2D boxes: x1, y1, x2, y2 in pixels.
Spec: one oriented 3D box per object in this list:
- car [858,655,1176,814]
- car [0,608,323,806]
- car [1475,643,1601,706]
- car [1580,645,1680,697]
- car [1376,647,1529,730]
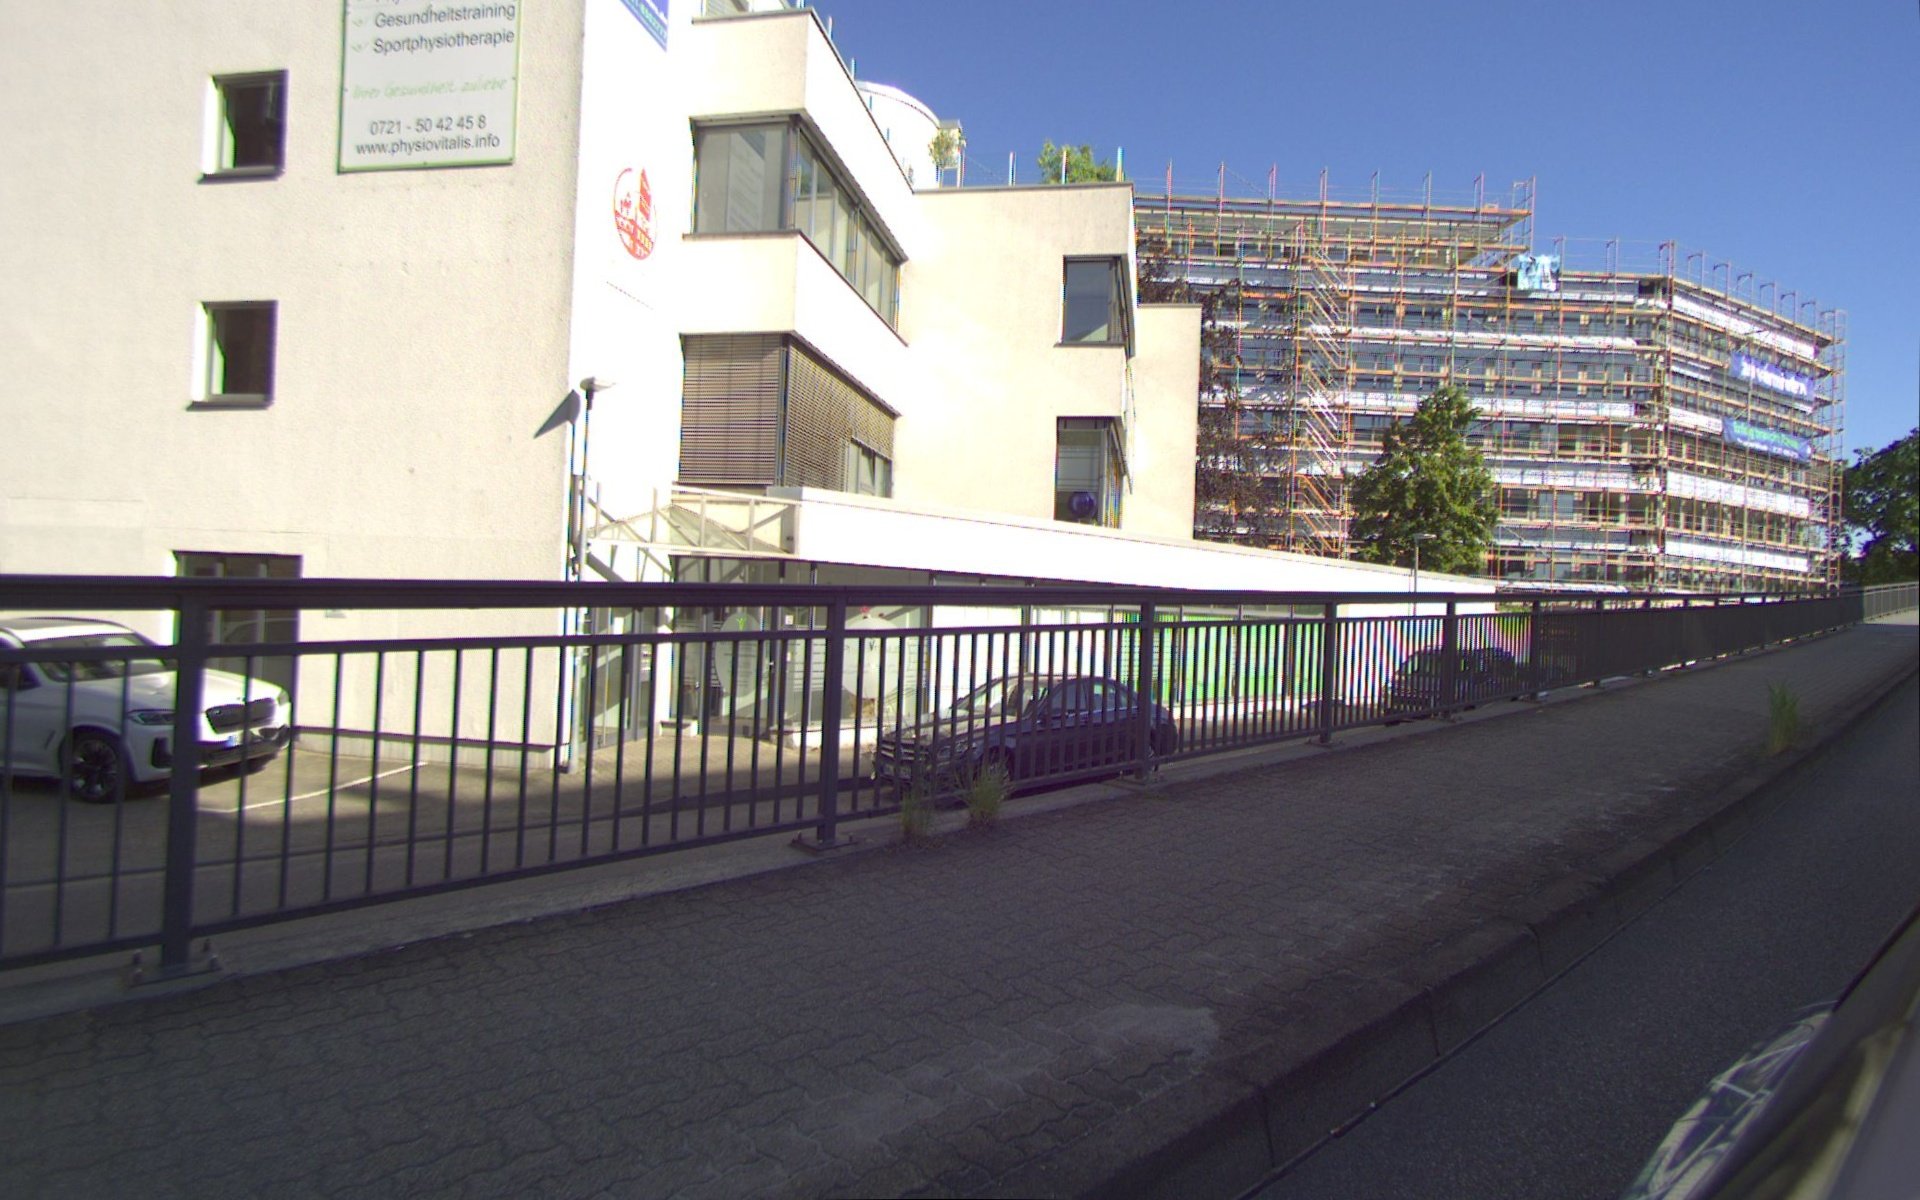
[{"bbox_3d":[0.819,1.549,12.811,3.929,1.541,1.724,1,-1,-41],"label":"car"},{"bbox_3d":[-9.537,1.023,10.845,4.455,1.707,1.840,2,0,9],"label":"car"},{"bbox_3d":[14.990,1.870,26.162,3.931,1.410,1.723,1,-1,-42],"label":"car"},{"bbox_3d":[21.097,2.177,31.802,3.931,1.410,1.723,1,-1,-42],"label":"car"},{"bbox_3d":[10.868,1.864,22.231,3.931,1.541,1.723,1,-1,-42],"label":"car"}]
